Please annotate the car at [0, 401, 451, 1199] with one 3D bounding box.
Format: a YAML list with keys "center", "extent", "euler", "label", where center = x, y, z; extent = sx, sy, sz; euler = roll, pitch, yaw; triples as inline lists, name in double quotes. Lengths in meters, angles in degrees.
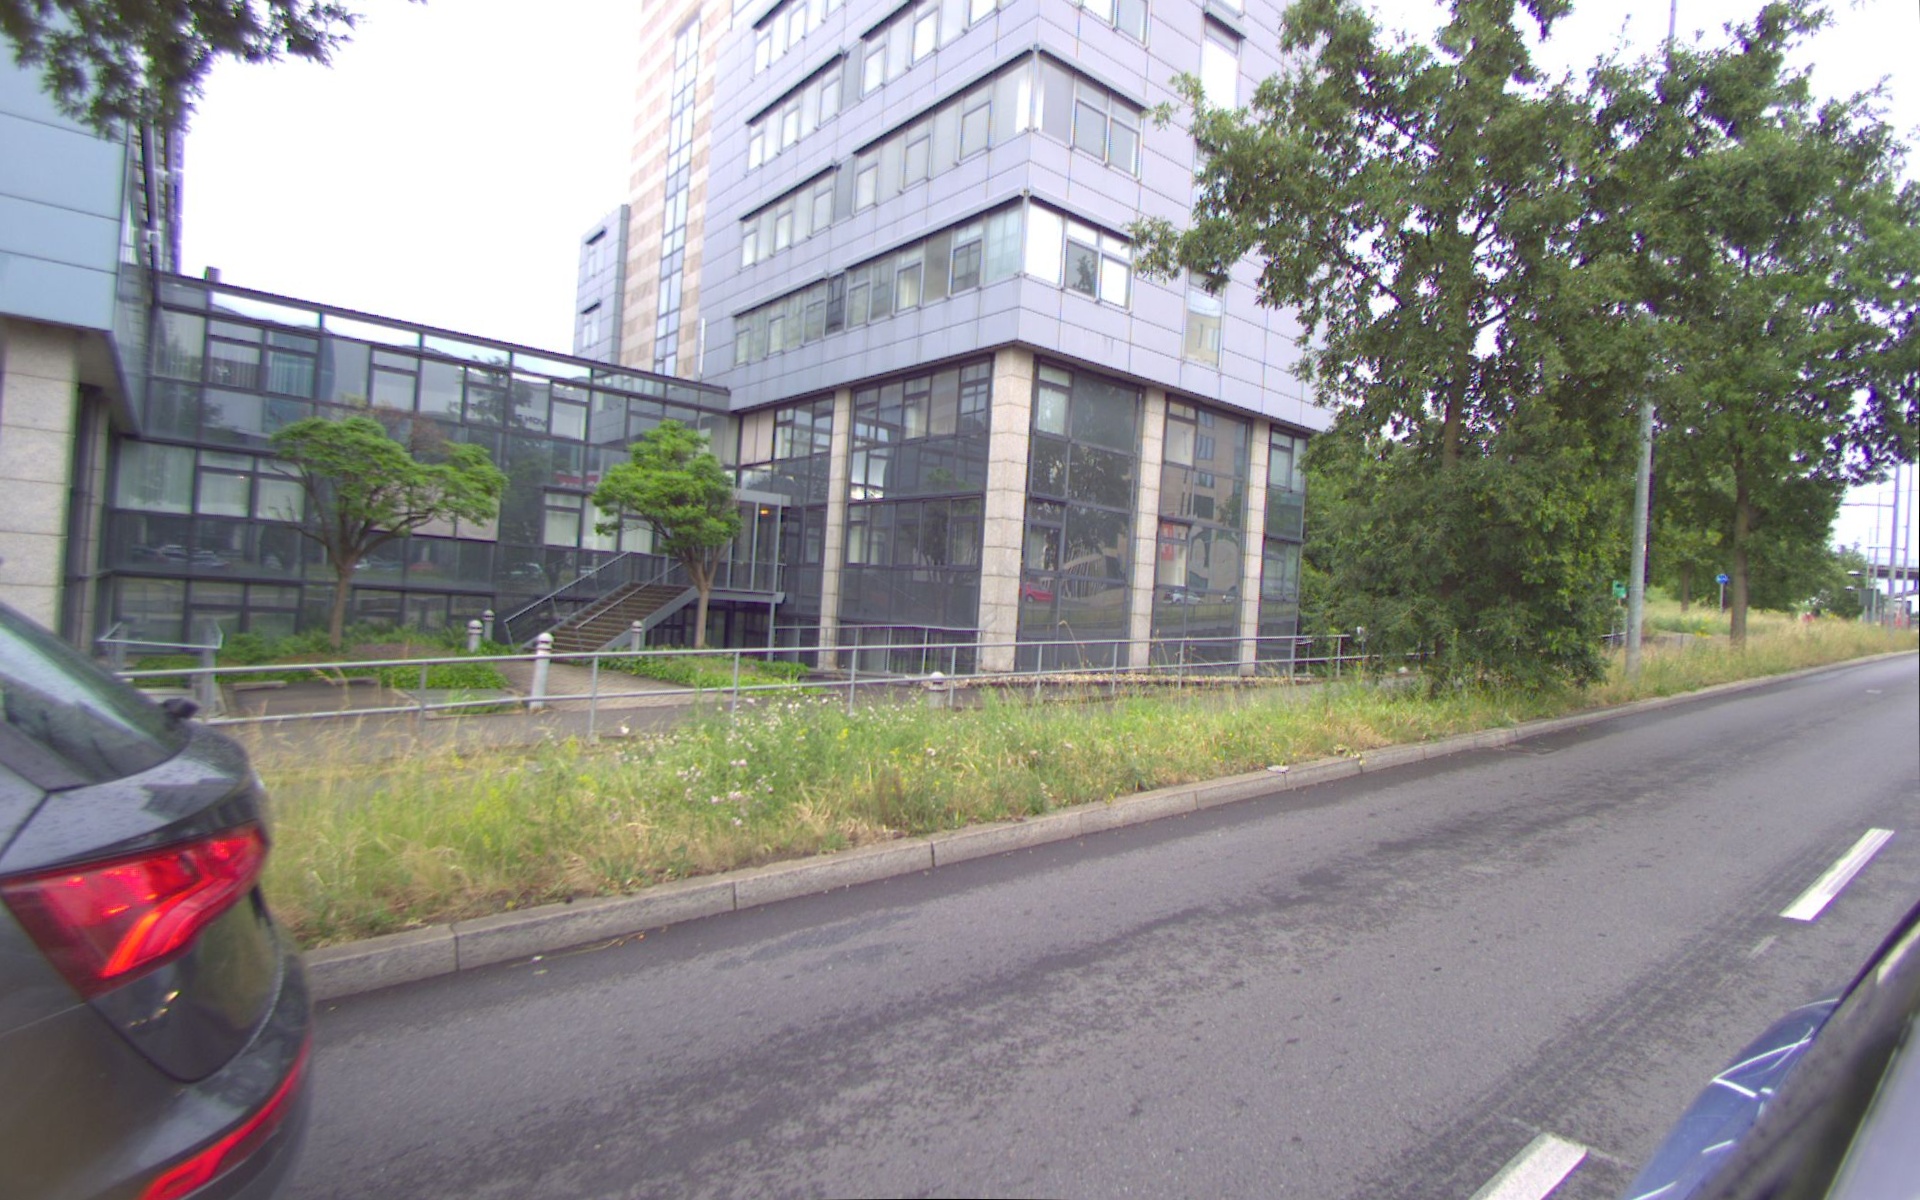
- center: [-3.071, 0.540, 0.877]
  extent: [4.392, 1.633, 1.821]
  euler: [0, 1, -41]
  label: "car"

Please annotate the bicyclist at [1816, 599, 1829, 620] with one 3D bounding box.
- center: [66.719, 0.725, 78.323]
  extent: [0.839, 1.599, 0.647]
  euler: [1, -1, -41]
  label: "bicyclist"

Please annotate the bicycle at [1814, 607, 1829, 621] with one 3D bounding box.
- center: [66.706, 1.100, 78.334]
  extent: [1.872, 1.102, 0.581]
  euler: [1, -1, -41]
  label: "bicycle"
